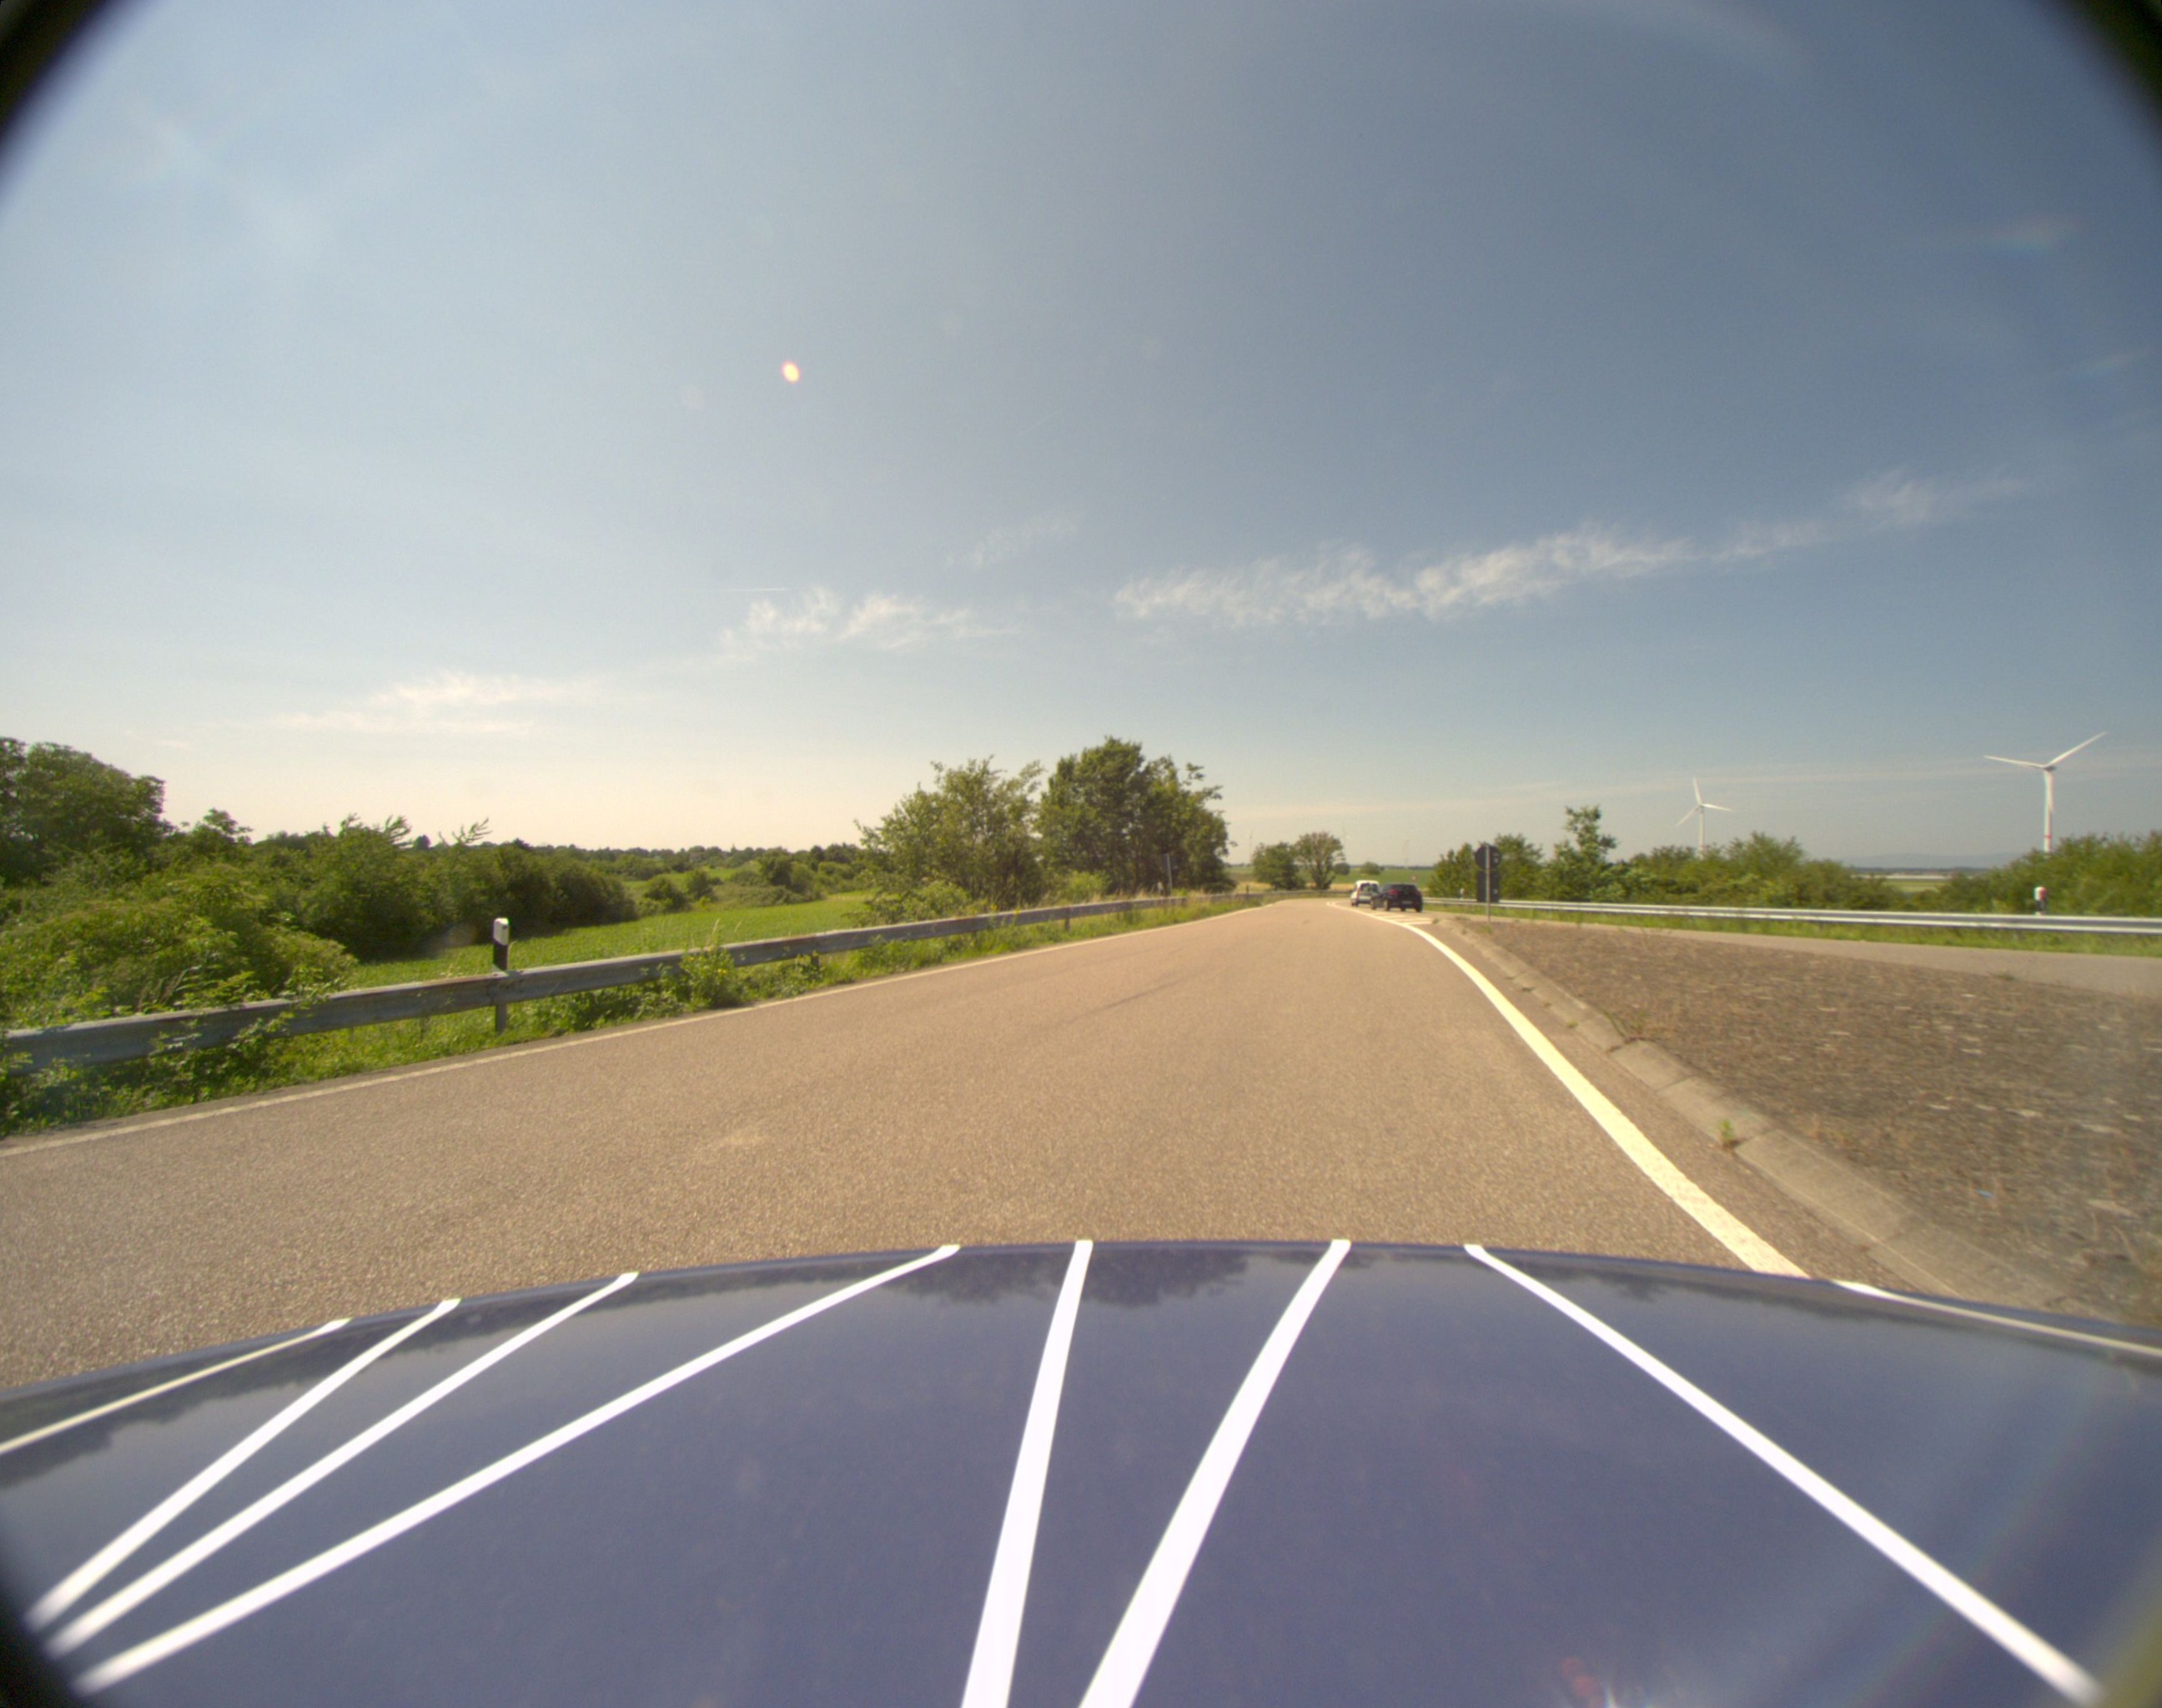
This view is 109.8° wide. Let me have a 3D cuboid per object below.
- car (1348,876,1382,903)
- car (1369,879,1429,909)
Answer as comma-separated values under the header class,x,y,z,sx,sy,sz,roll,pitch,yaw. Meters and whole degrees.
class,x,y,z,sx,sy,sz,roll,pitch,yaw
car,19.486,2.447,52.209,1.739,1.750,4.089,0,-2,14
car,16.104,2.040,38.670,1.712,1.387,3.891,2,-2,6
